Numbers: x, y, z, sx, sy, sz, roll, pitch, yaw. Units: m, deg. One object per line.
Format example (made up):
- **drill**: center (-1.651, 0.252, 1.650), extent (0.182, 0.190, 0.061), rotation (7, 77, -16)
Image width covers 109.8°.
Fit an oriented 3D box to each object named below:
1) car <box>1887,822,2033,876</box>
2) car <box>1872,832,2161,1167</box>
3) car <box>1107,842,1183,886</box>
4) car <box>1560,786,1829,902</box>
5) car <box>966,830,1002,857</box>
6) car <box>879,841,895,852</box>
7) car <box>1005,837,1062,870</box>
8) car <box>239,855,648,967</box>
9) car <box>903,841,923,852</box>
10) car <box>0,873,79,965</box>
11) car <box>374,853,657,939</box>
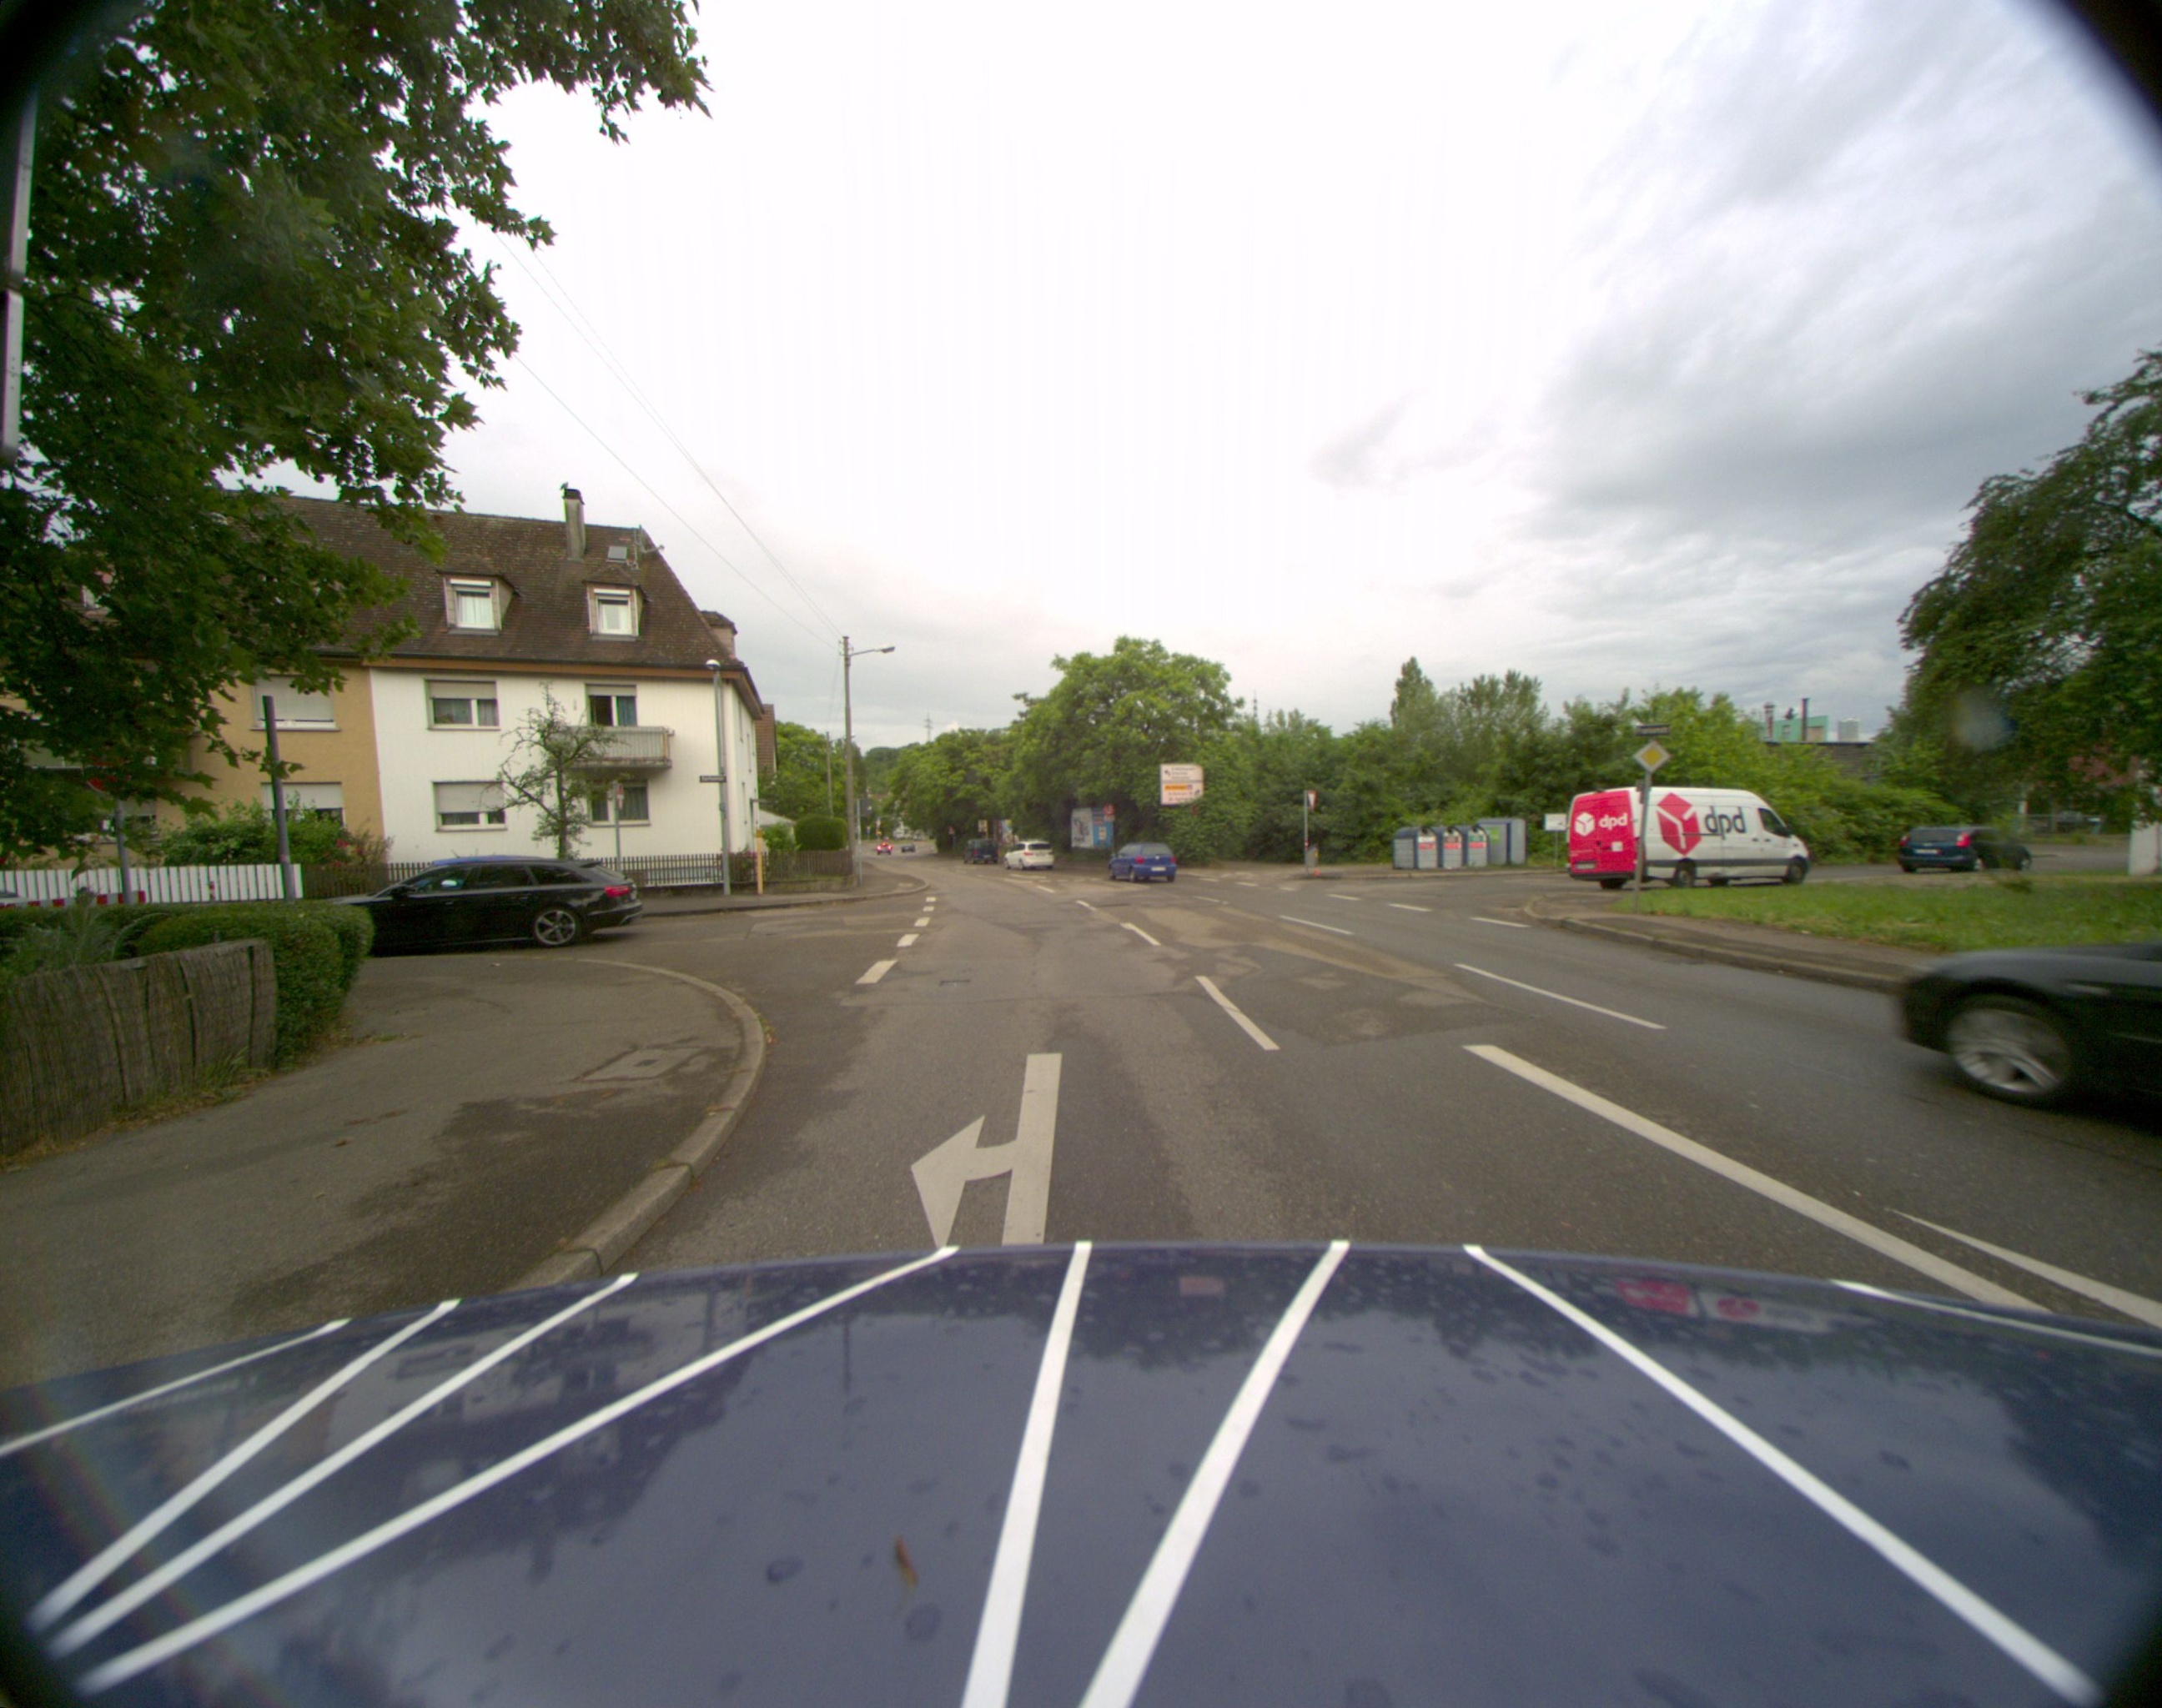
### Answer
- **car**: center (30.137, -0.215, 26.052), extent (4.257, 1.620, 1.996), rotation (-3, 2, -22)
- **car**: center (6.037, 0.696, 2.705), extent (1.846, 1.560, 4.411), rotation (-1, 1, 0)
- **car**: center (2.281, 0.314, 27.815), extent (1.603, 1.418, 3.691), rotation (-2, 1, -14)
- **car**: center (16.159, -0.354, 20.008), extent (6.829, 2.641, 2.258), rotation (-2, 2, -20)
- **car**: center (-7.381, -0.773, 57.486), extent (1.965, 1.920, 4.676), rotation (-2, 1, -16)
- **car**: center (-27.343, -1.123, 106.952), extent (1.903, 1.453, 3.993), rotation (-2, 1, -19)
- **car**: center (-2.742, -0.078, 42.897), extent (1.839, 1.570, 4.323), rotation (-3, 4, -22)
- **car**: center (-10.061, 0.813, 12.591), extent (4.823, 1.472, 1.882), rotation (-1, 1, -24)
- **car**: center (-27.124, -1.187, 122.916), extent (1.998, 1.435, 4.772), rotation (-3, 3, 3)
- **car**: center (-19.477, 1.123, 12.136), extent (3.788, 1.445, 1.769), rotation (-2, 1, -20)
- **car**: center (-11.128, 0.762, 15.329), extent (4.130, 1.472, 1.883), rotation (-1, 1, -17)
